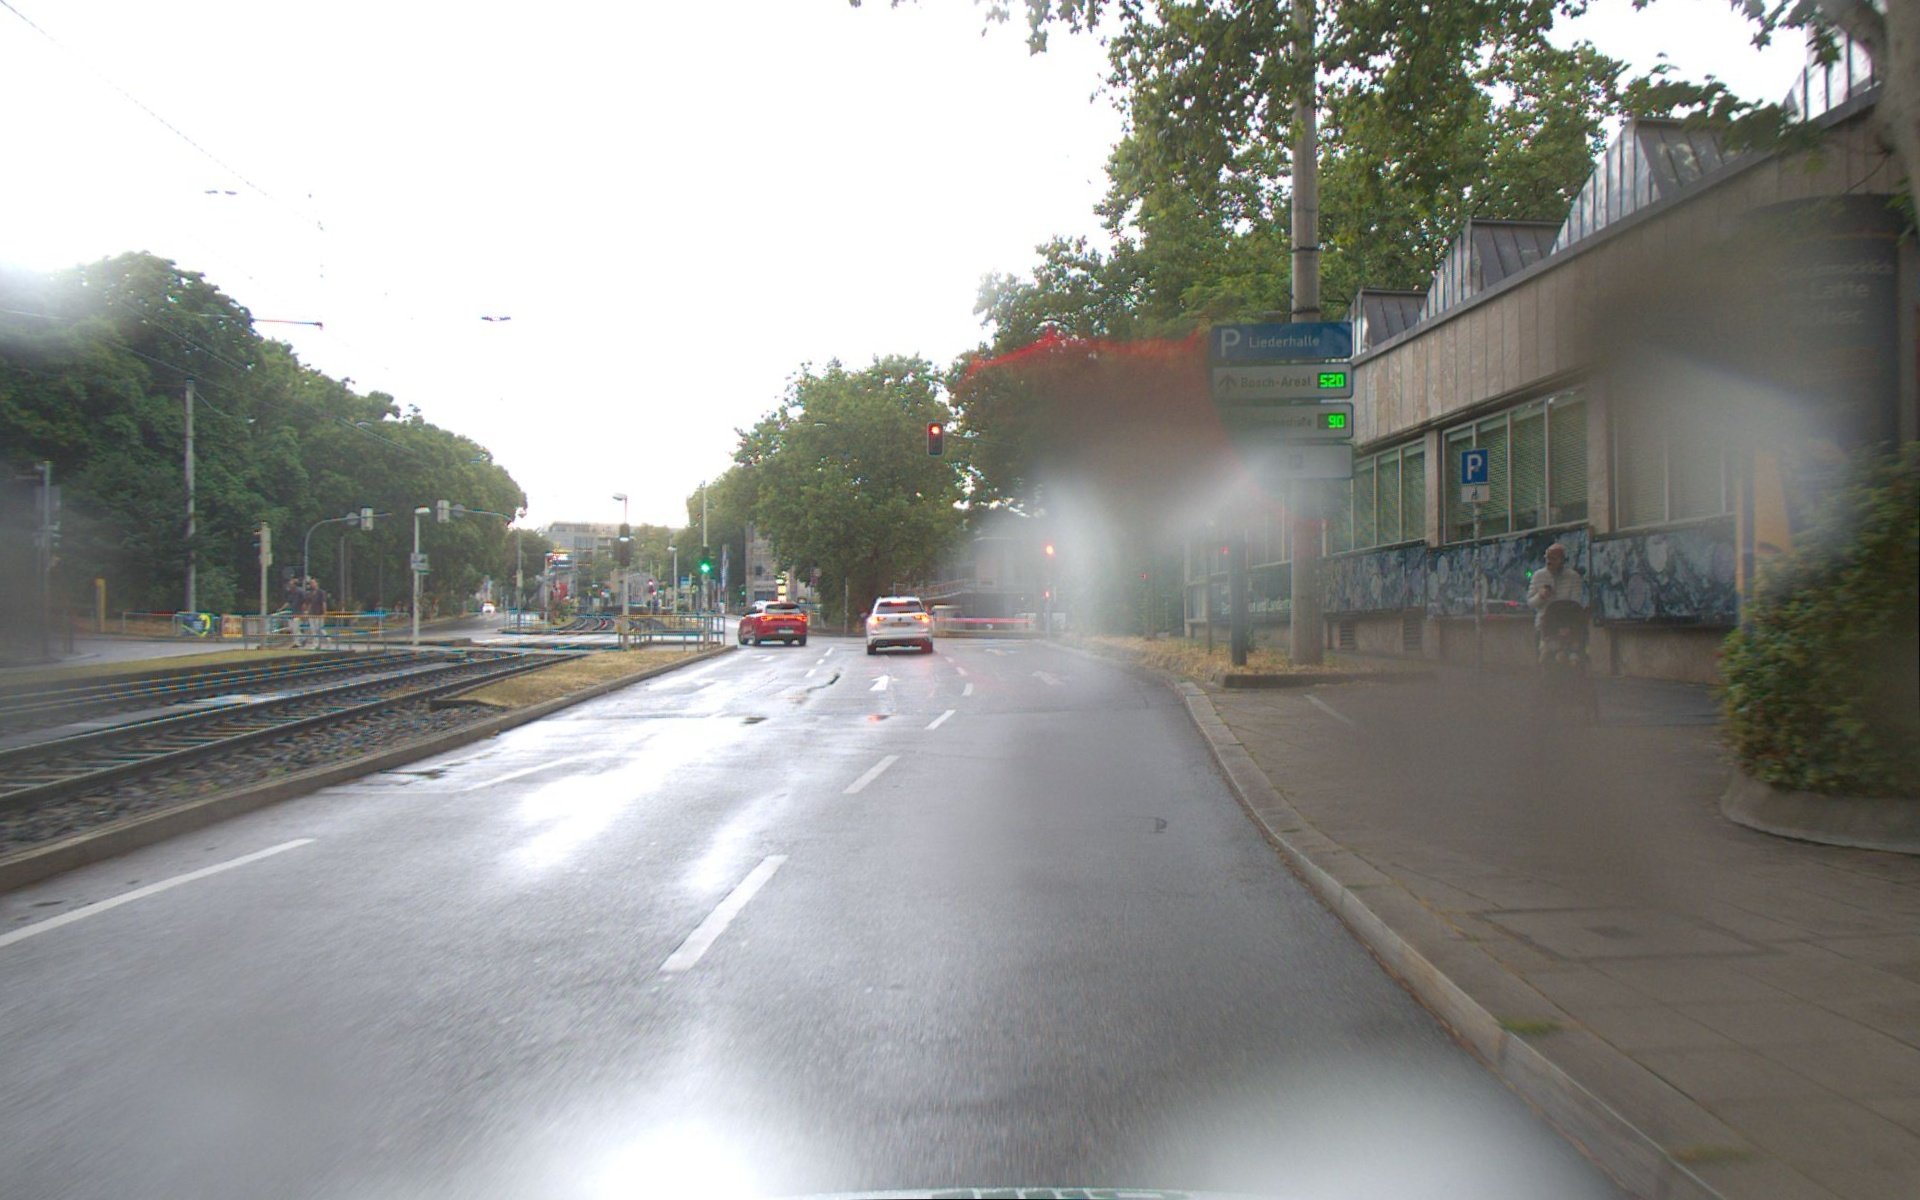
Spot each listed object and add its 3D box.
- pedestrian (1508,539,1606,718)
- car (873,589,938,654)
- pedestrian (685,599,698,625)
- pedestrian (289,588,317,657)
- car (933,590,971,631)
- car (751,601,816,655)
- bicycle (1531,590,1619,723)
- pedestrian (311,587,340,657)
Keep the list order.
[{"bbox_3d":[6.200,0.279,17.221,0.703,1.772,1.020,-3,0,9],"label":"pedestrian"},{"bbox_3d":[-1.460,0.534,44.213,1.645,1.604,4.251,-1,0,-2],"label":"car"},{"bbox_3d":[-17.195,0.786,106.011,0.725,1.669,0.868,1,-1,-13],"label":"pedestrian"},{"bbox_3d":[-17.714,0.603,44.585,0.631,1.819,0.804,2,-1,-25],"label":"pedestrian"},{"bbox_3d":[-0.687,0.874,134.985,2.496,3.189,5.022,1,-1,-7],"label":"car"},{"bbox_3d":[-5.735,0.915,54.133,1.942,1.669,4.412,1,-1,-4],"label":"car"},{"bbox_3d":[6.030,0.540,16.243,0.605,1.242,0.911,-2,0,9],"label":"bicycle"},{"bbox_3d":[-16.826,0.578,43.868,0.631,1.819,0.804,2,-1,-25],"label":"pedestrian"}]
